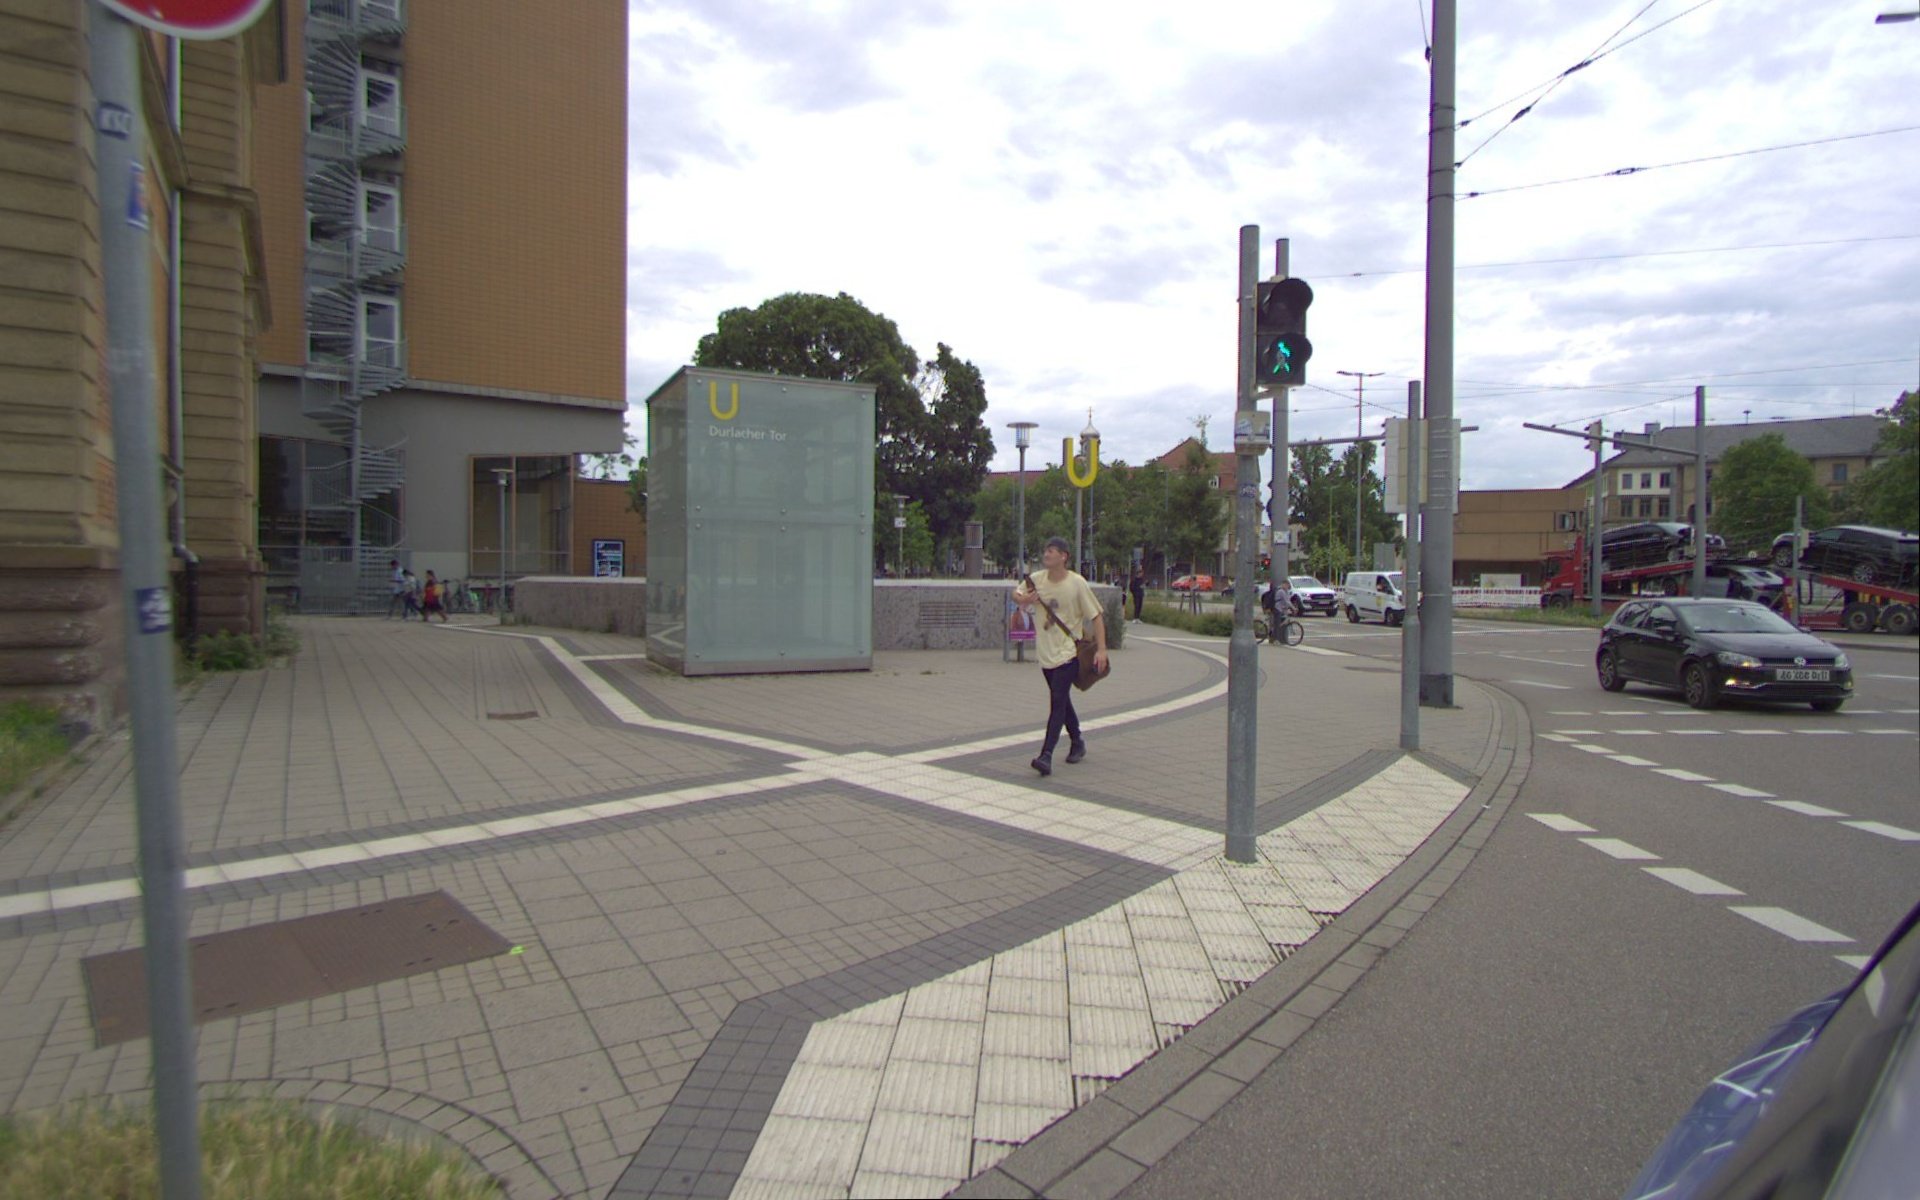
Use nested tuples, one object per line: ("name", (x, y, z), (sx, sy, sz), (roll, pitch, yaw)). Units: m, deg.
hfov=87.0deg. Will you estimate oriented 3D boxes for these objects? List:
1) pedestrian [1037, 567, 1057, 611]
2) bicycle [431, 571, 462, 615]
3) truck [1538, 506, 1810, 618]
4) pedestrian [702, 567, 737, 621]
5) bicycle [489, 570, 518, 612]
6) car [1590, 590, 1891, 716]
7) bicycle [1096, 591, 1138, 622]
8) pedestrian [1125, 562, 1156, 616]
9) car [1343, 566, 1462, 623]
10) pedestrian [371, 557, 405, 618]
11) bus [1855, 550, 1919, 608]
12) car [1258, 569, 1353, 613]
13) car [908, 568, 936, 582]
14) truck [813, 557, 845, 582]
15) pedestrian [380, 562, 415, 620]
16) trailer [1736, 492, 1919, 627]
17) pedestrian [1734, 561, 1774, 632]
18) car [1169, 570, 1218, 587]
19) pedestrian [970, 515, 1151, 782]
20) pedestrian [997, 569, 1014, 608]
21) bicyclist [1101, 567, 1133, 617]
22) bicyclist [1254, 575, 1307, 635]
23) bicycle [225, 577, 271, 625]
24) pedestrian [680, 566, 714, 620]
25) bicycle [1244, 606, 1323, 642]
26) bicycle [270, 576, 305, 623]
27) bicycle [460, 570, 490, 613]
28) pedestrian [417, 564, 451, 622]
("pedestrian", (3.714, -0.471, 43.268), (0.823, 1.828, 0.703), (0, 1, 1))
("bicycle", (-16.818, -0.250, 33.115), (0.798, 1.356, 2.614), (-1, 2, -29))
("truck", (28.549, -1.517, 41.425), (2.955, 3.968, 10.470), (-1, 2, -6))
("pedestrian", (-7.930, -0.214, 33.374), (0.859, 1.752, 0.723), (0, 1, -43))
("bicycle", (-15.344, -0.309, 33.961), (0.671, 1.356, 2.614), (-1, 2, -29))
("car", (10.576, 0.604, 14.128), (1.630, 1.430, 3.989), (1, 1, 10))
("bicycle", (5.154, 0.218, 33.138), (0.668, 0.944, 1.838), (4, 2, 31))
("pedestrian", (6.623, -0.404, 37.052), (0.858, 1.952, 0.724), (0, 1, -38))
("car", (16.184, -0.255, 37.332), (1.959, 1.966, 4.530), (0, 1, -7))
("pedestrian", (-16.896, -0.378, 29.921), (0.856, 1.758, 0.725), (0, 1, -27))
("bus", (54.527, -1.236, 56.917), (2.834, 3.115, 11.923), (0, 2, 24))
("car", (15.613, -0.439, 46.071), (2.047, 1.872, 4.760), (0, 1, -10))
("car", (-5.052, -3.270, 133.510), (1.961, 1.749, 4.002), (-2, 2, -33))
("truck", (-22.321, -5.155, 171.822), (2.856, 4.074, 7.169), (-1, 2, -30))
("pedestrian", (-16.253, -0.264, 29.243), (0.856, 1.651, 0.725), (0, 1, -27))
("trailer", (29.827, -1.256, 31.412), (2.935, 4.022, 9.573), (-1, 2, -11))
("pedestrian", (22.563, -0.121, 28.777), (0.776, 1.967, 0.970), (1, 1, 33))
("car", (24.970, -2.327, 108.346), (5.137, 1.738, 1.915), (0, 1, -29))
("pedestrian", (0.810, 0.323, 7.937), (0.882, 1.890, 1.270), (1, 1, 36))
("pedestrian", (2.203, -0.547, 48.839), (0.618, 1.823, 0.598), (3, 0, -8))
("bicyclist", (5.126, -0.261, 33.059), (0.687, 1.580, 0.916), (2, 0, 30))
("bicyclist", (8.431, 0.115, 26.648), (1.078, 1.539, 0.761), (0, 1, -8))
("bicycle", (-21.203, -0.008, 30.182), (0.798, 1.356, 2.614), (-1, 2, -29))
("pedestrian", (-8.799, -0.248, 33.859), (0.859, 1.764, 0.723), (0, 1, -43))
("bicycle", (8.531, 0.634, 26.745), (1.789, 0.850, 0.769), (2, 1, -8))
("bicycle", (-20.298, -0.033, 30.589), (0.634, 1.356, 2.614), (-1, 2, -29))
("bicycle", (-16.076, -0.289, 33.535), (0.723, 1.356, 2.614), (-1, 2, -29))
("pedestrian", (-15.243, -0.222, 29.322), (0.856, 1.651, 0.725), (0, 1, -27))
